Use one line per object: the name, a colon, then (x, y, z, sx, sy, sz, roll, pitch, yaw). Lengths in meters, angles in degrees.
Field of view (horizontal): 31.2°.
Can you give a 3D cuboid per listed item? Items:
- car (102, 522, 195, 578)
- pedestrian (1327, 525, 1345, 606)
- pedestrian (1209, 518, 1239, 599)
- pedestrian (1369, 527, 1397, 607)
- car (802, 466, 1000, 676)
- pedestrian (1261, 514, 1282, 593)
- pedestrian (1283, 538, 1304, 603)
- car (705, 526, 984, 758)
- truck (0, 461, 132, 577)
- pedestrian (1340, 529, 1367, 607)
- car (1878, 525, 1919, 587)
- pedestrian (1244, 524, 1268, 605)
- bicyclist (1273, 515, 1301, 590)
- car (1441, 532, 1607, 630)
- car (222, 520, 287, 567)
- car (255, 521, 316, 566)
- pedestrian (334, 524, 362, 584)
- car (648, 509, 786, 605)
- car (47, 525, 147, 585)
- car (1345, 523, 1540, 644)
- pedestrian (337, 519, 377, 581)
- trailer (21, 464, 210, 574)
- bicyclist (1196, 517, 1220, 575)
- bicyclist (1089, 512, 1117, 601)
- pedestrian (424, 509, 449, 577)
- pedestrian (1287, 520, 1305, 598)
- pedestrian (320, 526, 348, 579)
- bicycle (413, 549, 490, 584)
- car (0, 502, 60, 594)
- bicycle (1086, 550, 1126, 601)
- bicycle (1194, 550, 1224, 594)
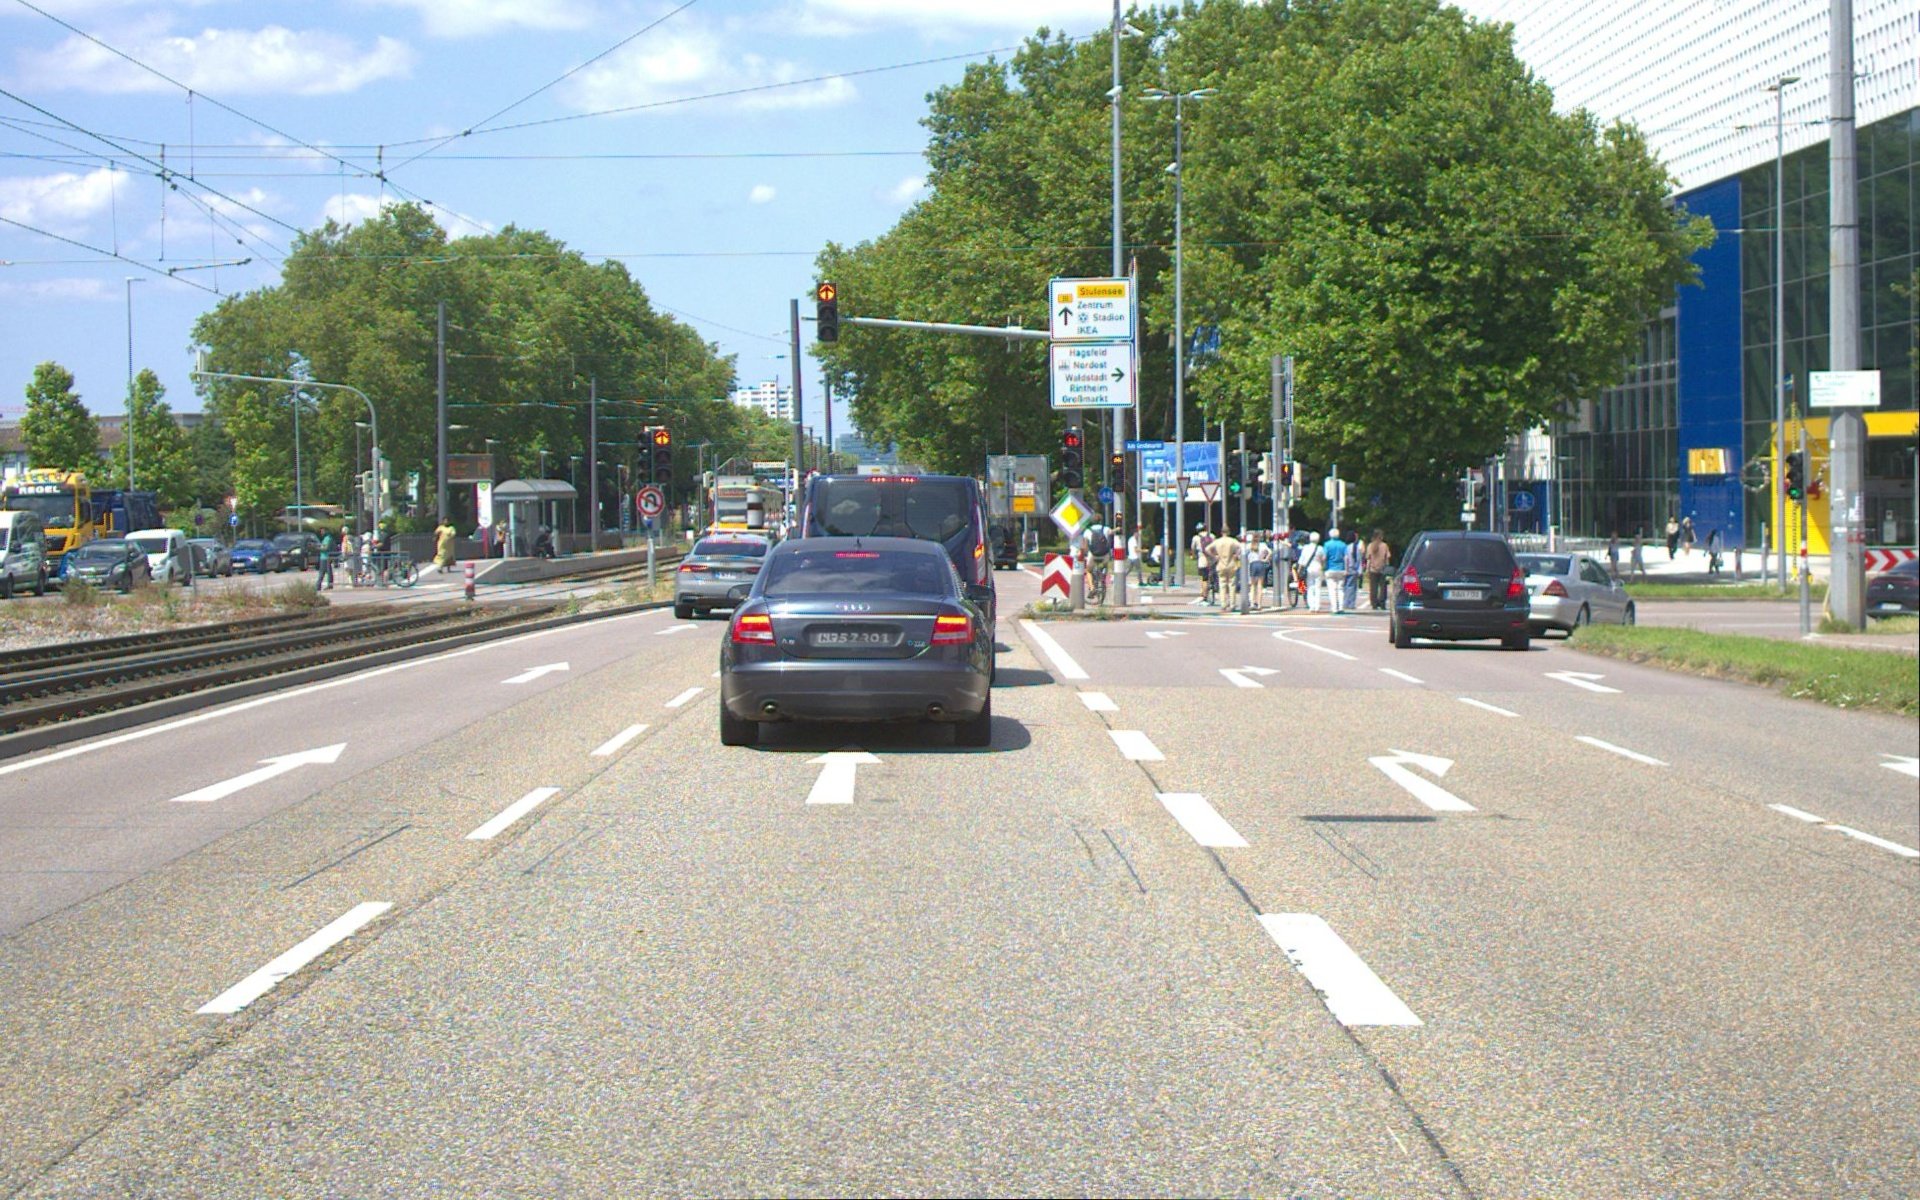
car: (-25.570, -1.591, 108.456, 1.822, 1.664, 4.461, 1, 1, 1)
pedestrian: (7.614, -0.709, 69.571, 0.320, 1.629, 0.377, 1, 1, 3)
pedestrian: (5.352, -0.837, 69.702, 0.554, 1.629, 0.433, 1, 1, 3)
pedestrian: (8.810, -0.689, 71.664, 0.521, 1.664, 0.494, 1, 1, 3)
car: (-0.577, -0.308, 33.964, 1.836, 1.943, 4.000, 0, 1, -1)
pedestrian: (6.503, -0.973, 71.799, 0.381, 1.629, 0.377, 1, 1, 3)
pedestrian: (6.759, -0.599, 69.703, 0.372, 1.299, 0.365, 1, 1, 3)
car: (-0.764, 0.229, 24.318, 1.792, 1.450, 4.000, -1, 2, 0)
truck: (-28.668, -2.587, 110.202, 2.767, 3.557, 6.440, 1, 1, -1)
pedestrian: (8.229, -0.668, 71.852, 0.504, 1.629, 0.449, 1, 1, 3)
car: (25.079, -1.044, 84.536, 4.498, 1.481, 2.000, 2, 2, 3)
pedestrian: (6.008, -0.725, 69.673, 0.445, 1.629, 0.430, 1, 1, 3)
bicyclist: (7.781, -1.132, 81.793, 0.529, 1.758, 0.827, 0, 1, 13)
car: (9.266, -0.339, 56.266, 1.995, 1.481, 4.162, 2, 2, 19)
car: (-28.534, -2.291, 139.120, 1.817, 1.876, 4.000, 1, 1, -1)
car: (-28.526, -2.407, 145.502, 1.817, 1.876, 4.000, 1, 1, -1)
pedestrian: (-16.520, -1.239, 92.784, 0.685, 1.631, 0.573, 0, 1, -4)
car: (-4.000, -0.737, 57.180, 1.993, 1.481, 4.000, 2, 2, 0)
car: (-25.357, -1.329, 101.092, 1.822, 1.664, 4.462, 1, 1, 0)
car: (6.453, -0.256, 46.358, 1.993, 1.481, 4.000, 2, 2, 0)
pedestrian: (-16.937, -1.406, 96.543, 0.824, 1.714, 0.774, 1, 1, 22)
trailer: (-28.774, -2.757, 118.049, 2.767, 3.506, 15.879, 1, 1, -1)
bicyclist: (5.163, -1.127, 71.540, 0.470, 1.189, 0.791, 0, 1, 2)
bicyclist: (2.909, -0.887, 69.999, 0.528, 1.783, 1.088, 0, 1, 0)
pedestrian: (-15.493, -1.686, 101.793, 0.685, 2.007, 0.573, 0, 1, -4)
pedestrian: (7.012, -0.862, 71.766, 0.339, 1.629, 0.377, 1, 1, 3)
pedestrian: (-17.036, -1.295, 93.596, 0.685, 1.438, 0.573, 0, 1, -4)
bicycle: (-13.797, -0.903, 93.288, 2.055, 0.922, 0.753, 0, 1, -10)
car: (-28.444, -1.541, 101.307, 2.243, 2.580, 6.236, -2, 2, -2)
bicycle: (2.974, -0.513, 70.209, 0.688, 0.990, 2.752, 1, 1, 0)
bicycle: (5.185, -0.584, 71.582, 0.550, 0.874, 1.697, 1, 1, 2)
